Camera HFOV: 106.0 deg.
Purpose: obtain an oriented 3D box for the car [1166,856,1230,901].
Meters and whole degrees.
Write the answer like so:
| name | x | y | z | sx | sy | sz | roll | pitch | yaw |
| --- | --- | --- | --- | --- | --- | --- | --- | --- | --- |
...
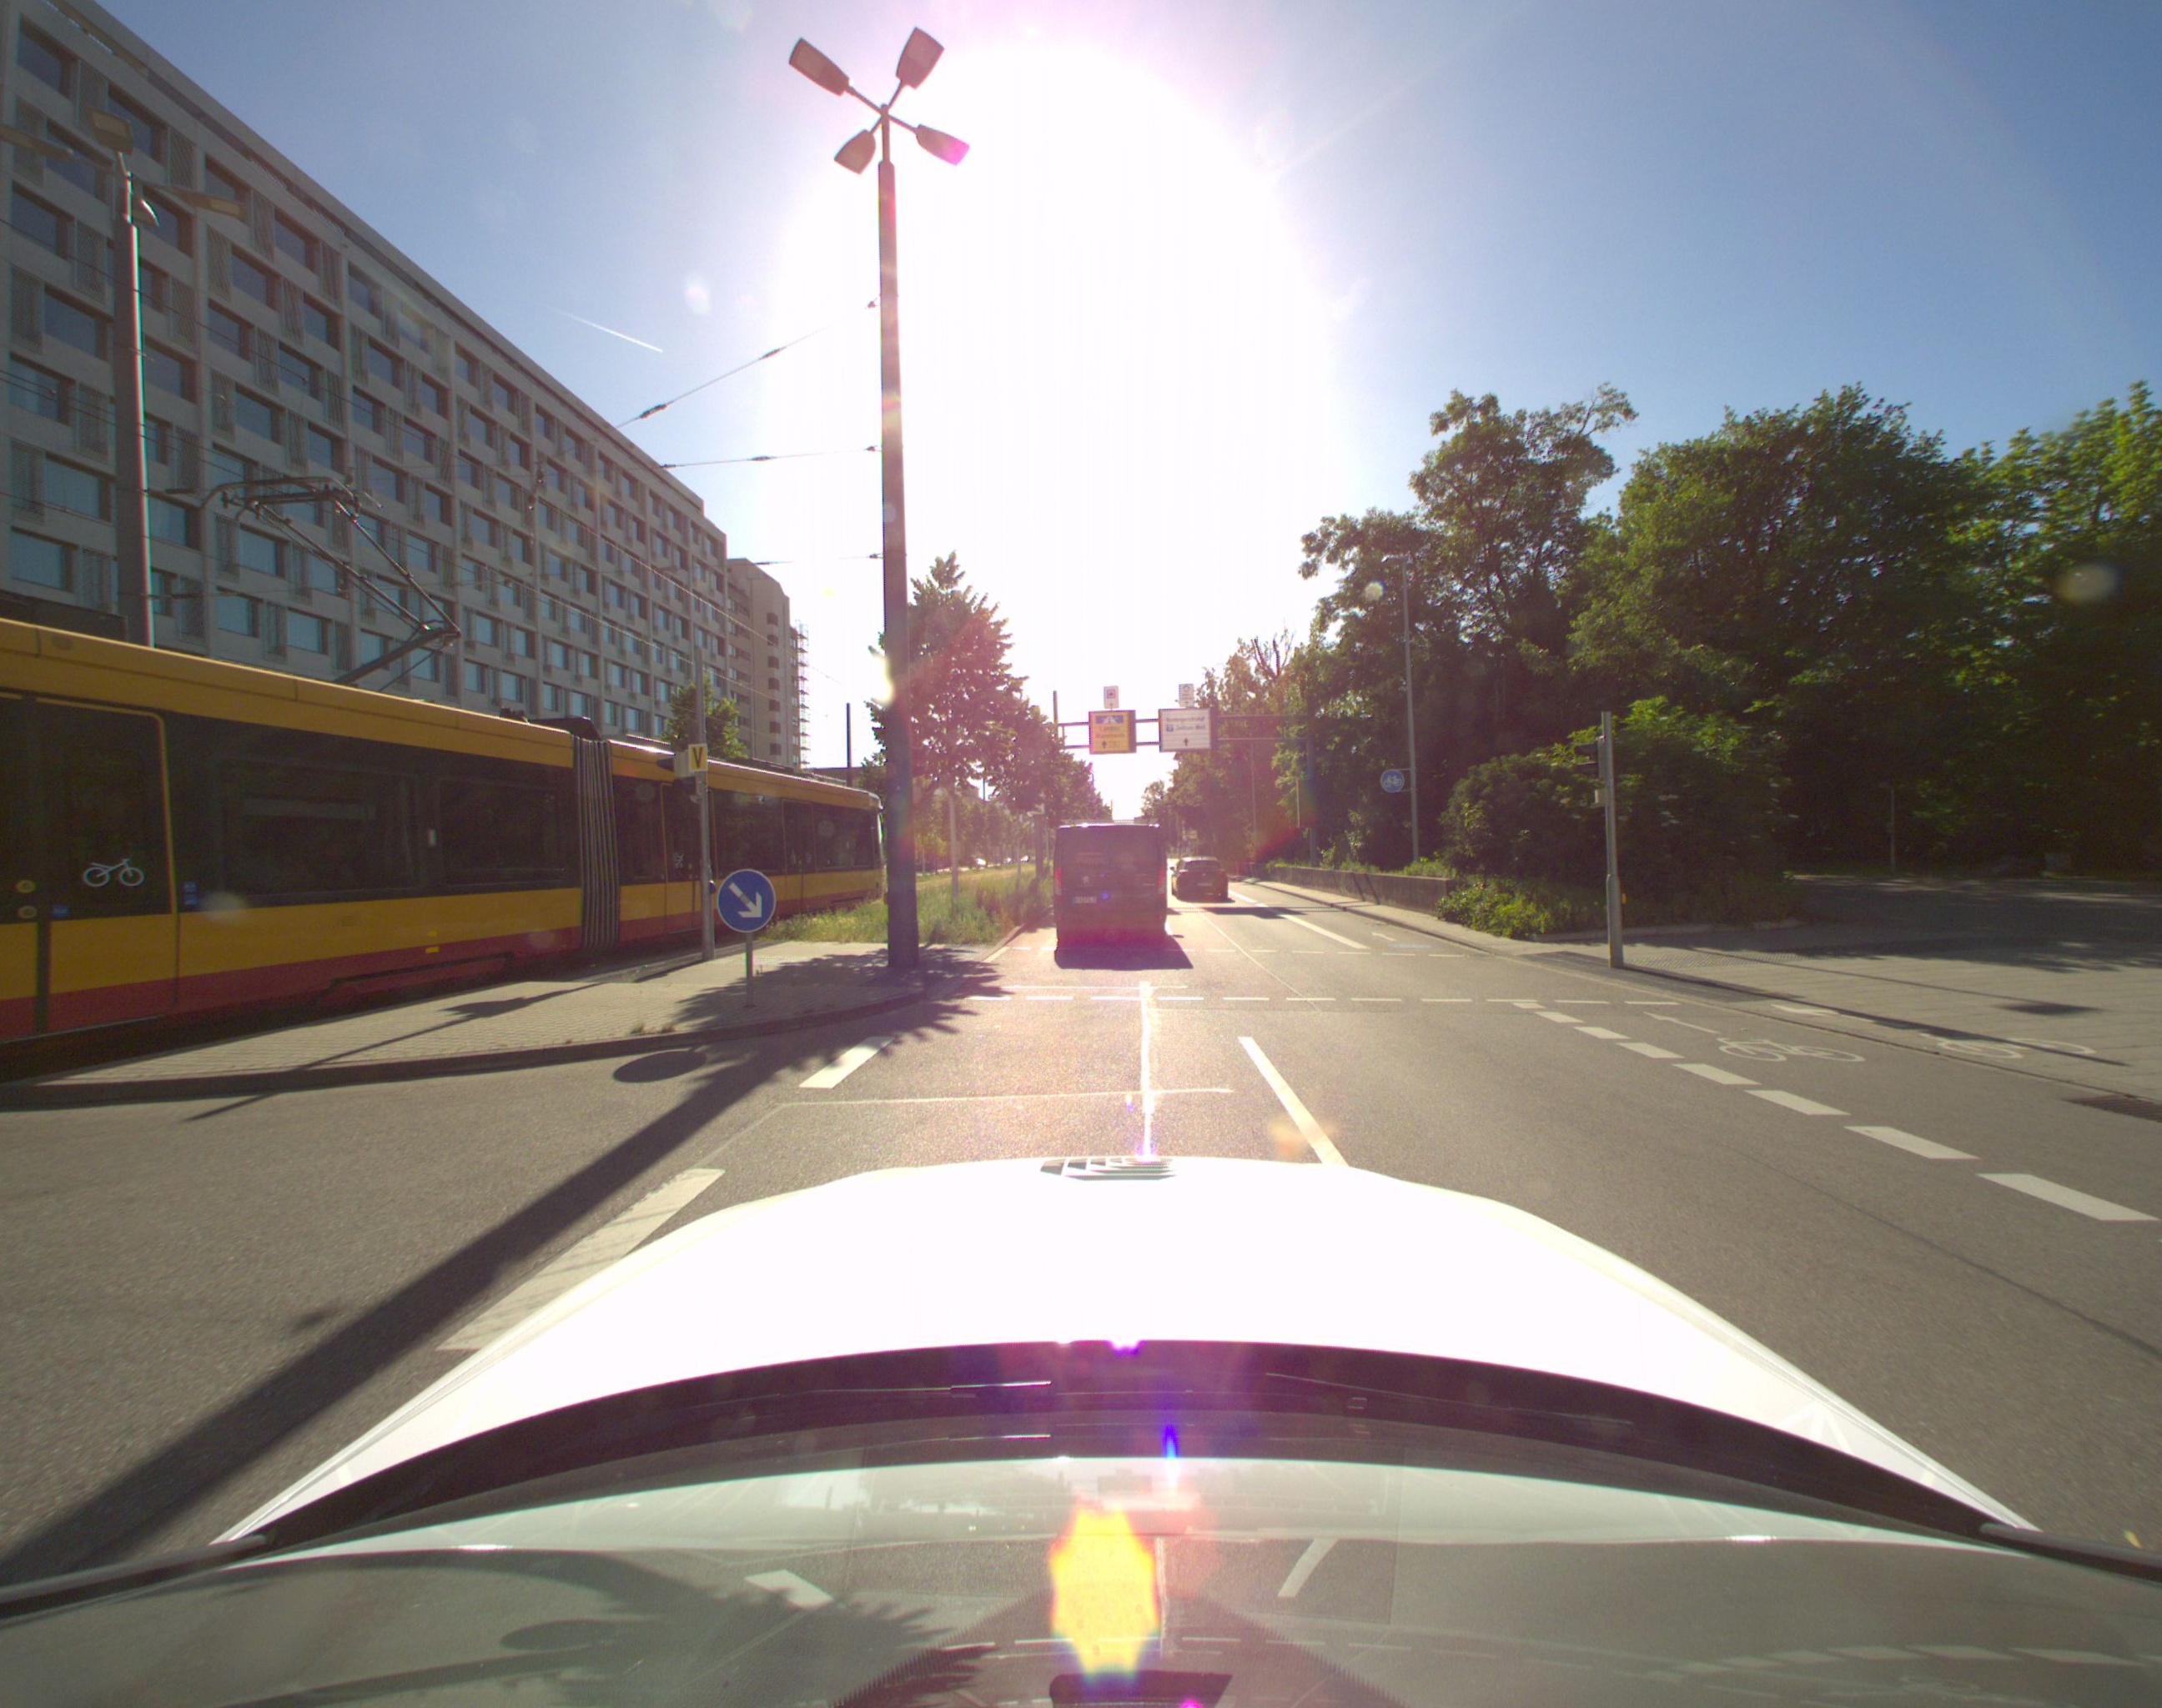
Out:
| name | x | y | z | sx | sy | sz | roll | pitch | yaw |
| --- | --- | --- | --- | --- | --- | --- | --- | --- | --- |
| car | 4.100 | 0.819 | 29.068 | 1.757 | 1.462 | 4.001 | -1 | 0 | 1 |

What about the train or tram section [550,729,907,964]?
| name | x | y | z | sx | sy | sz | roll | pitch | yaw |
| --- | --- | --- | --- | --- | --- | --- | --- | --- | --- |
| train or tram section | -6.821 | -0.097 | 18.639 | 1.983 | 3.669 | 11.702 | -1 | 0 | 6 |

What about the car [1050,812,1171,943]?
| name | x | y | z | sx | sy | sz | roll | pitch | yaw |
| --- | --- | --- | --- | --- | --- | --- | --- | --- | --- |
| car | 0.611 | 0.420 | 16.160 | 2.074 | 2.249 | 4.003 | -1 | 0 | 3 |

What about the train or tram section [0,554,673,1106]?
| name | x | y | z | sx | sy | sz | roll | pitch | yaw |
| --- | --- | --- | --- | --- | --- | --- | --- | --- | --- |
| train or tram section | -7.993 | -0.145 | 7.244 | 1.983 | 3.669 | 11.334 | -1 | 0 | 6 |

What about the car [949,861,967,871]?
| name | x | y | z | sx | sy | sz | roll | pitch | yaw |
| --- | --- | --- | --- | --- | --- | --- | --- | --- | --- |
| car | -19.894 | 1.978 | 132.092 | 1.984 | 1.552 | 4.005 | -1 | 0 | 4 |
